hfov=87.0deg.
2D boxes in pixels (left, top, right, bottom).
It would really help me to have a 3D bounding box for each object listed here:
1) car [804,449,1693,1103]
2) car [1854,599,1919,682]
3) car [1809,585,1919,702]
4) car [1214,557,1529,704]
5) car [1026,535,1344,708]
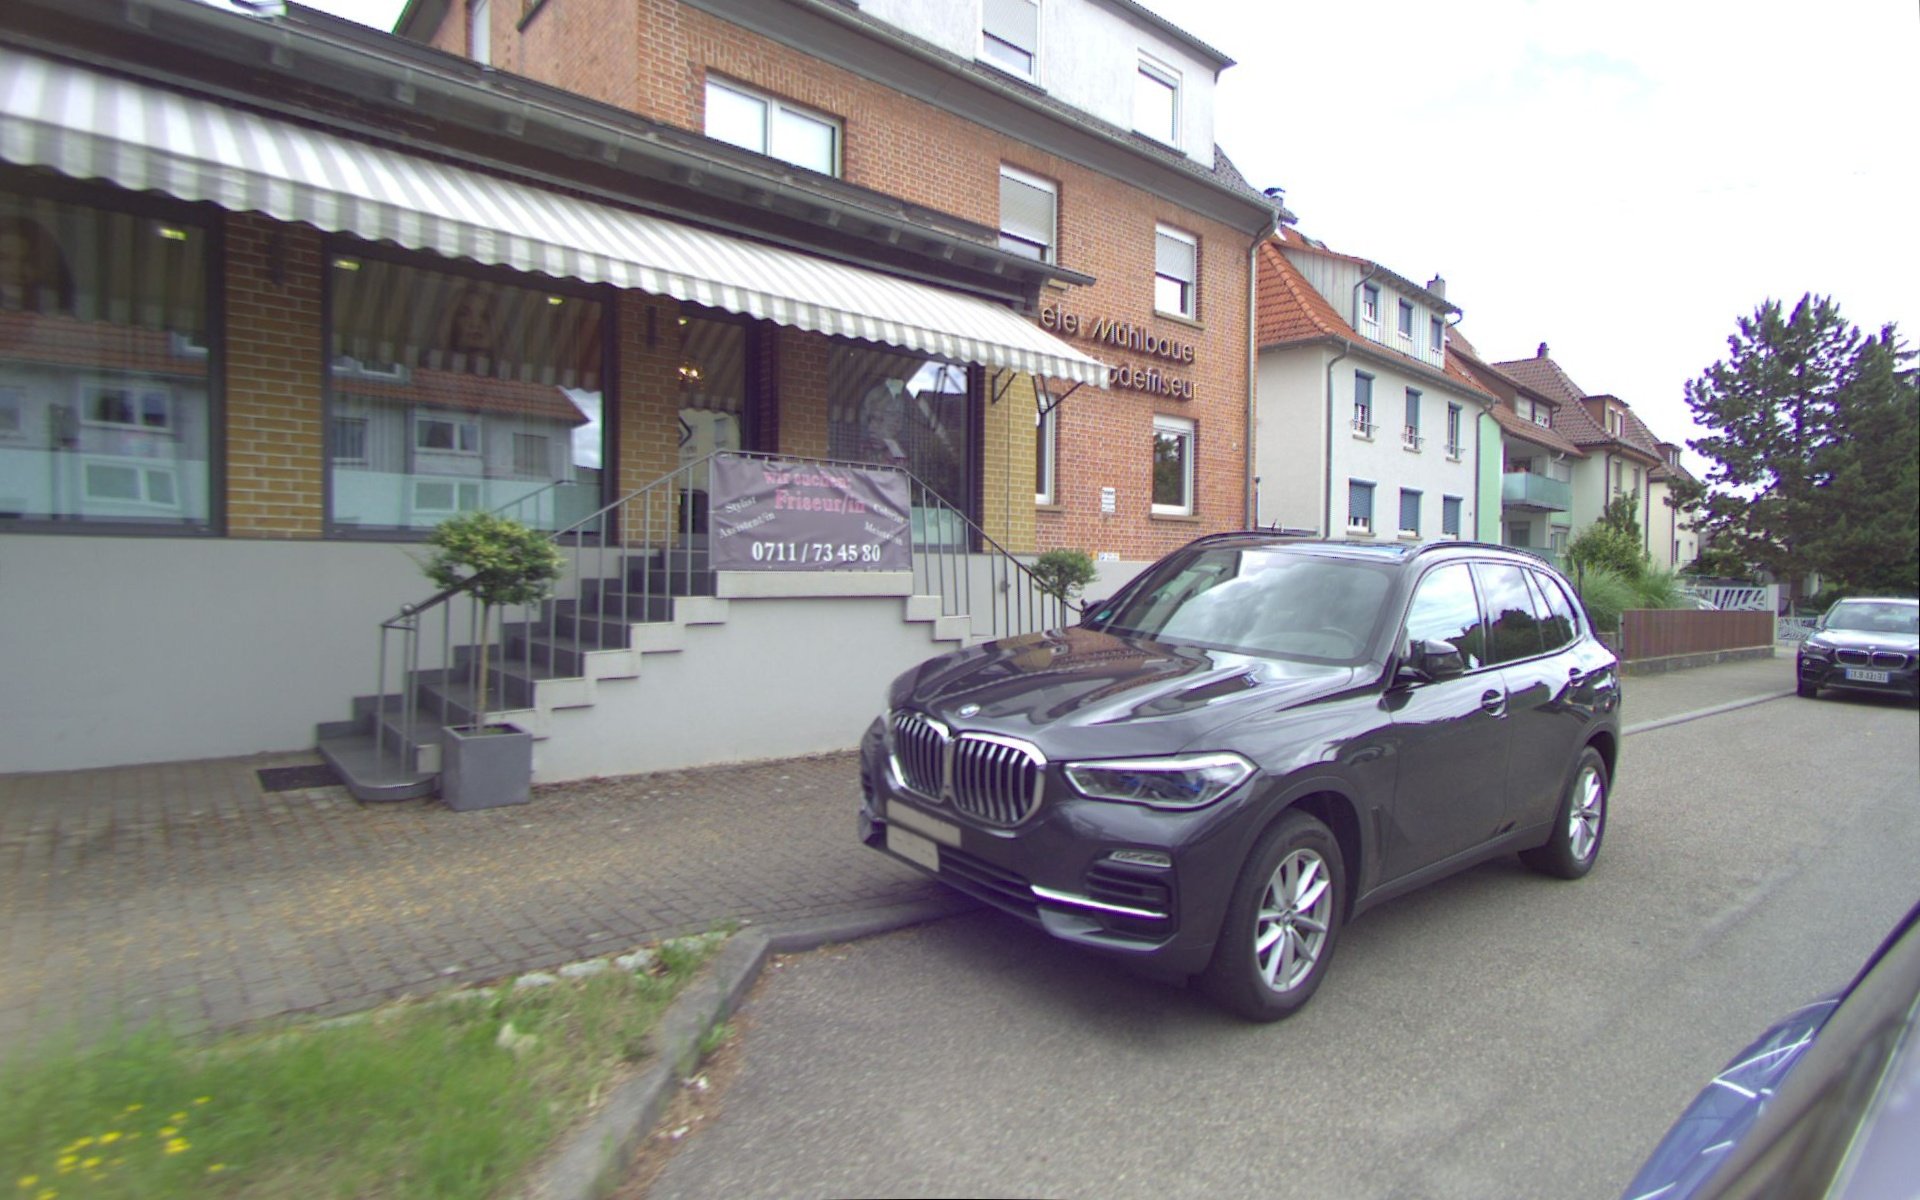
[{"bbox_3d":[1.811,0.465,5.147,4.827,1.859,1.903,0,3,-40],"label":"car"},{"bbox_3d":[18.241,0.734,18.986,3.619,1.440,1.680,0,2,-40],"label":"car"},{"bbox_3d":[14.902,0.634,15.994,4.087,1.611,1.726,0,3,-43],"label":"car"},{"bbox_3d":[5.301,0.293,13.236,3.352,1.476,1.723,7,4,42],"label":"car"},{"bbox_3d":[2.600,0.150,12.160,1.554,1.653,3.356,0,5,-45],"label":"car"}]
